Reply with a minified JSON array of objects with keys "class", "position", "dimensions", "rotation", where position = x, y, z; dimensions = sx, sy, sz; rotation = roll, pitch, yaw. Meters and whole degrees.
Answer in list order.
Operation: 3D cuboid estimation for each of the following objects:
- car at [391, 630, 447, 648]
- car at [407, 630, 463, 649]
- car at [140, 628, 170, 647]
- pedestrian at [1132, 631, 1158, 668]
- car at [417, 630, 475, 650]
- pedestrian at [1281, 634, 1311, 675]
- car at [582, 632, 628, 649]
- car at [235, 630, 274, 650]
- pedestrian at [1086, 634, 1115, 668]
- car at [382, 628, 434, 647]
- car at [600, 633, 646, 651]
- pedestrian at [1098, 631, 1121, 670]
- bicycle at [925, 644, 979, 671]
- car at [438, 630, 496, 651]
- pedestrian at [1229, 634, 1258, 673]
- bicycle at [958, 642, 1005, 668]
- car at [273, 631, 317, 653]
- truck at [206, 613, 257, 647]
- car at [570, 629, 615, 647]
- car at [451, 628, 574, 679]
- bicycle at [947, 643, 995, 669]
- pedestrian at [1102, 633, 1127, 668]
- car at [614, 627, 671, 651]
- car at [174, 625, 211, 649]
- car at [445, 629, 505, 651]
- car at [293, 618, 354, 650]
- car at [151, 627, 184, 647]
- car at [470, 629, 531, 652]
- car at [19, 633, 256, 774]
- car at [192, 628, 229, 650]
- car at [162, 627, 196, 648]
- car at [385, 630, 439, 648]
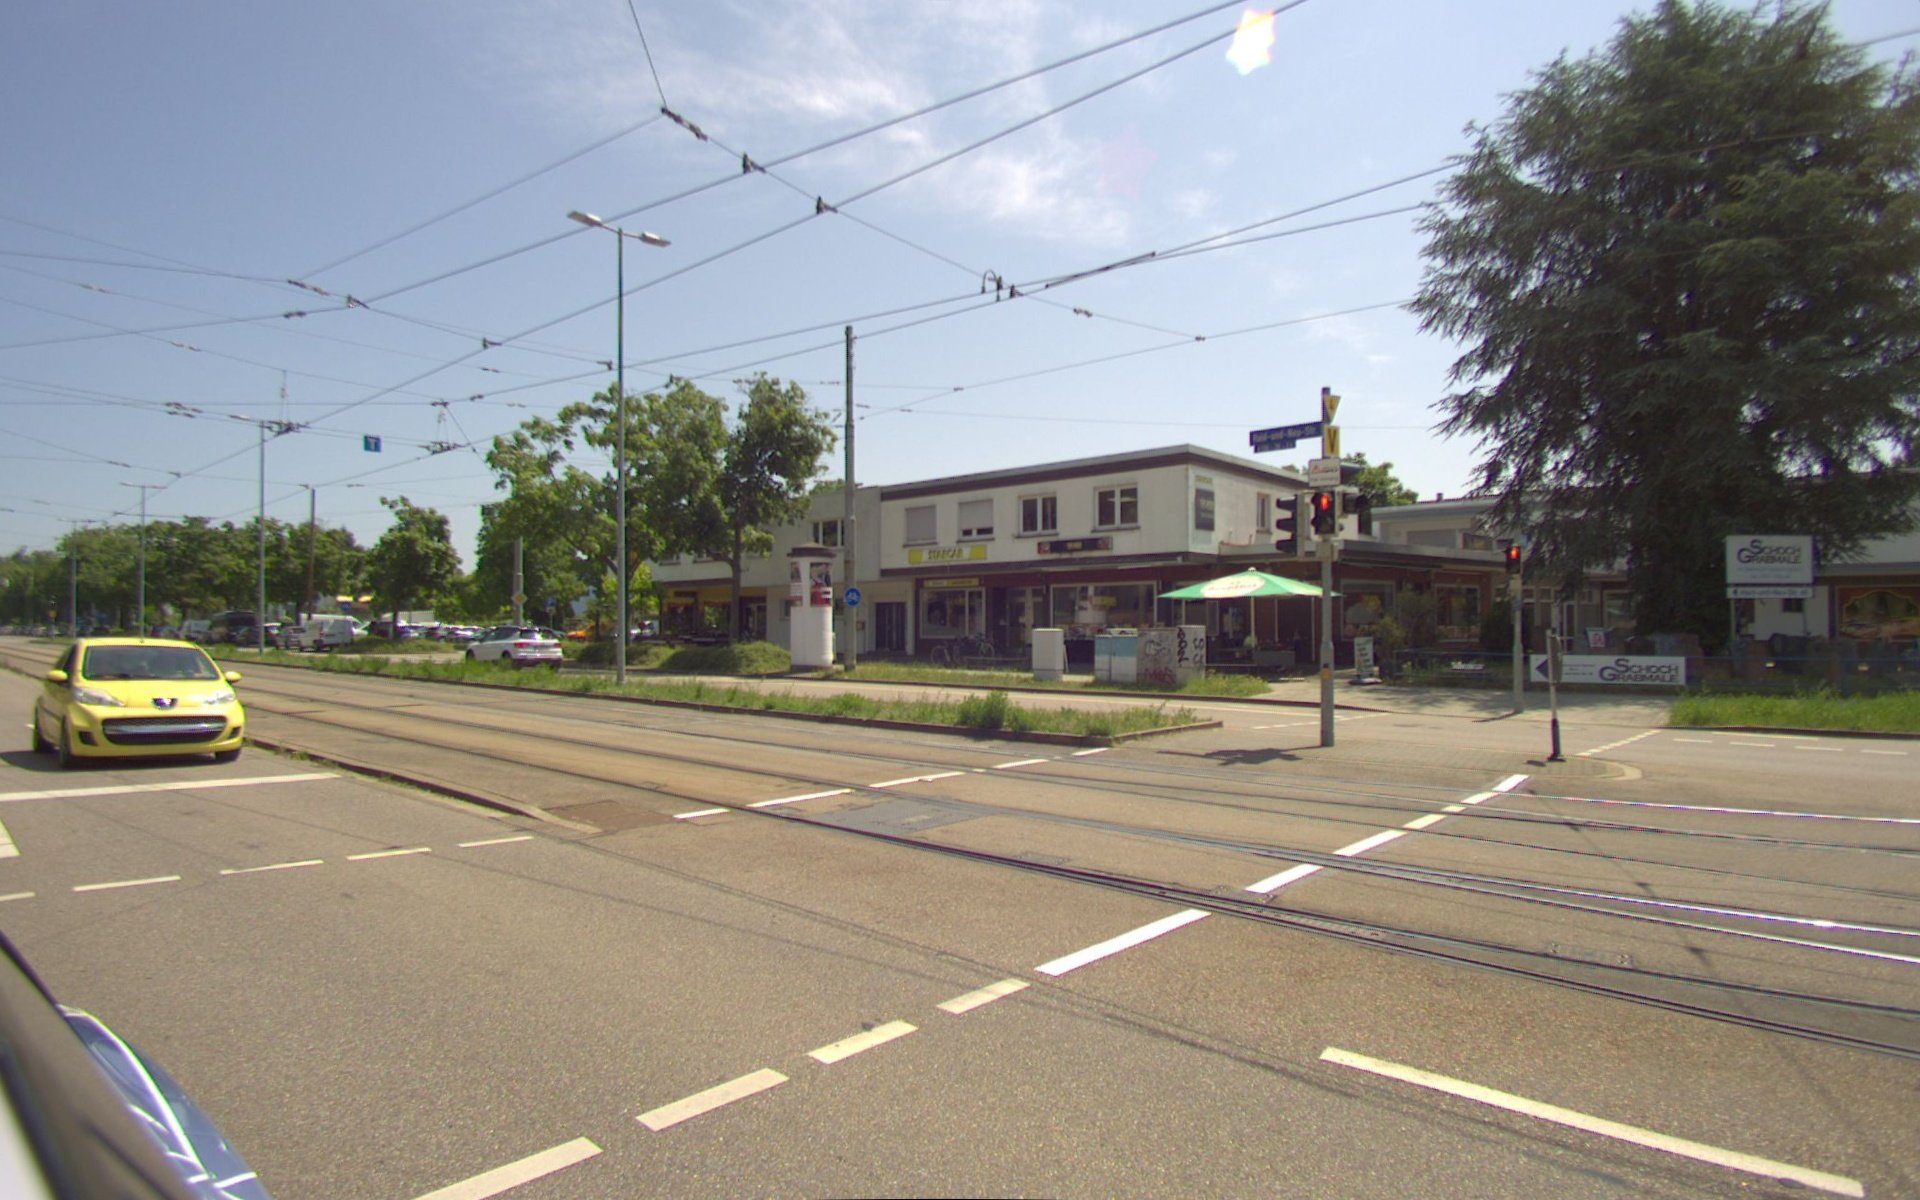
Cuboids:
[{"class":"car","position":[-41.195,2.967,77.142],"dimensions":[1.601,1.404,3.373],"rotation":[-1,-2,37]},{"class":"car","position":[-39.250,2.946,75.707],"dimensions":[1.601,1.404,3.373],"rotation":[-1,-2,37]},{"class":"car","position":[-77.969,3.621,98.003],"dimensions":[3.822,1.716,1.659],"rotation":[-2,-3,42]},{"class":"pedestrian","position":[6.097,1.622,33.437],"dimensions":[0.674,1.218,0.511],"rotation":[-2,-3,43]},{"class":"car","position":[-37.183,2.907,73.256],"dimensions":[1.601,1.404,3.373],"rotation":[-1,-2,37]},{"class":"pedestrian","position":[9.618,1.550,28.961],"dimensions":[0.674,1.136,0.511],"rotation":[-2,-3,43]},{"class":"car","position":[-29.926,3.411,85.343],"dimensions":[1.505,1.469,3.312],"rotation":[-2,-3,39]},{"class":"car","position":[-50.647,2.863,72.657],"dimensions":[3.671,1.397,1.652],"rotation":[-2,-3,44]},{"class":"pedestrian","position":[4.712,1.712,33.964],"dimensions":[0.810,1.136,0.558],"rotation":[-2,-3,43]},{"class":"car","position":[-44.516,3.024,81.662],"dimensions":[1.601,1.517,3.373],"rotation":[-1,-2,37]},{"class":"car","position":[-27.741,3.433,83.271],"dimensions":[1.505,1.400,3.312],"rotation":[-2,-3,39]},{"class":"pedestrian","position":[4.872,1.630,32.935],"dimensions":[0.491,1.248,0.568],"rotation":[-2,-3,42]},{"class":"bicycle","position":[-0.292,1.974,34.706],"dimensions":[1.959,0.854,0.595],"rotation":[-1,0,43]},{"class":"car","position":[-35.141,2.879,72.150],"dimensions":[1.601,1.404,3.373],"rotation":[-1,-2,37]},{"class":"pedestrian","position":[8.447,1.576,30.146],"dimensions":[0.674,1.136,0.511],"rotation":[-2,-3,43]},{"class":"bicycle","position":[0.762,1.951,36.105],"dimensions":[1.787,0.854,0.522],"rotation":[-1,0,43]},{"class":"car","position":[-43.266,2.689,65.781],"dimensions":[3.570,1.397,1.652],"rotation":[-2,-3,44]},{"class":"truck","position":[-55.213,2.278,76.672],"dimensions":[4.929,2.561,2.195],"rotation":[-2,-3,43]},{"class":"car","position":[-31.608,3.274,87.036],"dimensions":[1.505,1.573,3.312],"rotation":[-2,-3,39]},{"class":"car","position":[-14.744,1.742,33.273],"dimensions":[4.134,1.564,1.974],"rotation":[-1,-5,39]},{"class":"bicycle","position":[0.386,1.959,35.689],"dimensions":[1.787,0.854,0.522],"rotation":[-1,0,43]},{"class":"pedestrian","position":[5.244,1.699,34.425],"dimensions":[0.674,1.172,0.511],"rotation":[-2,-3,43]},{"class":"car","position":[-24.915,3.042,79.428],"dimensions":[1.812,1.798,3.947],"rotation":[-2,-3,39]},{"class":"car","position":[-65.224,3.154,85.996],"dimensions":[4.508,1.989,1.659],"rotation":[-2,-3,42]},{"class":"car","position":[-33.598,2.772,70.149],"dimensions":[1.596,1.502,3.373],"rotation":[-1,-2,37]},{"class":"car","position":[-38.656,2.071,61.425],"dimensions":[4.661,1.898,1.972],"rotation":[-2,-3,43]},{"class":"car","position":[-72.978,3.421,93.219],"dimensions":[4.201,1.807,1.659],"rotation":[-2,-3,42]},{"class":"car","position":[-31.386,2.736,69.163],"dimensions":[1.791,1.502,3.373],"rotation":[-1,-2,37]},{"class":"car","position":[-9.972,1.181,12.185],"dimensions":[3.654,1.432,1.598],"rotation":[-3,-6,42]},{"class":"car","position":[-61.224,3.171,82.600],"dimensions":[3.868,1.807,1.659],"rotation":[-2,-3,42]},{"class":"car","position":[-69.230,3.310,89.677],"dimensions":[4.201,1.807,1.659],"rotation":[-2,-3,42]},{"class":"car","position":[-42.987,3.032,79.480],"dimensions":[1.601,1.404,3.373],"rotation":[-1,-2,37]}]
